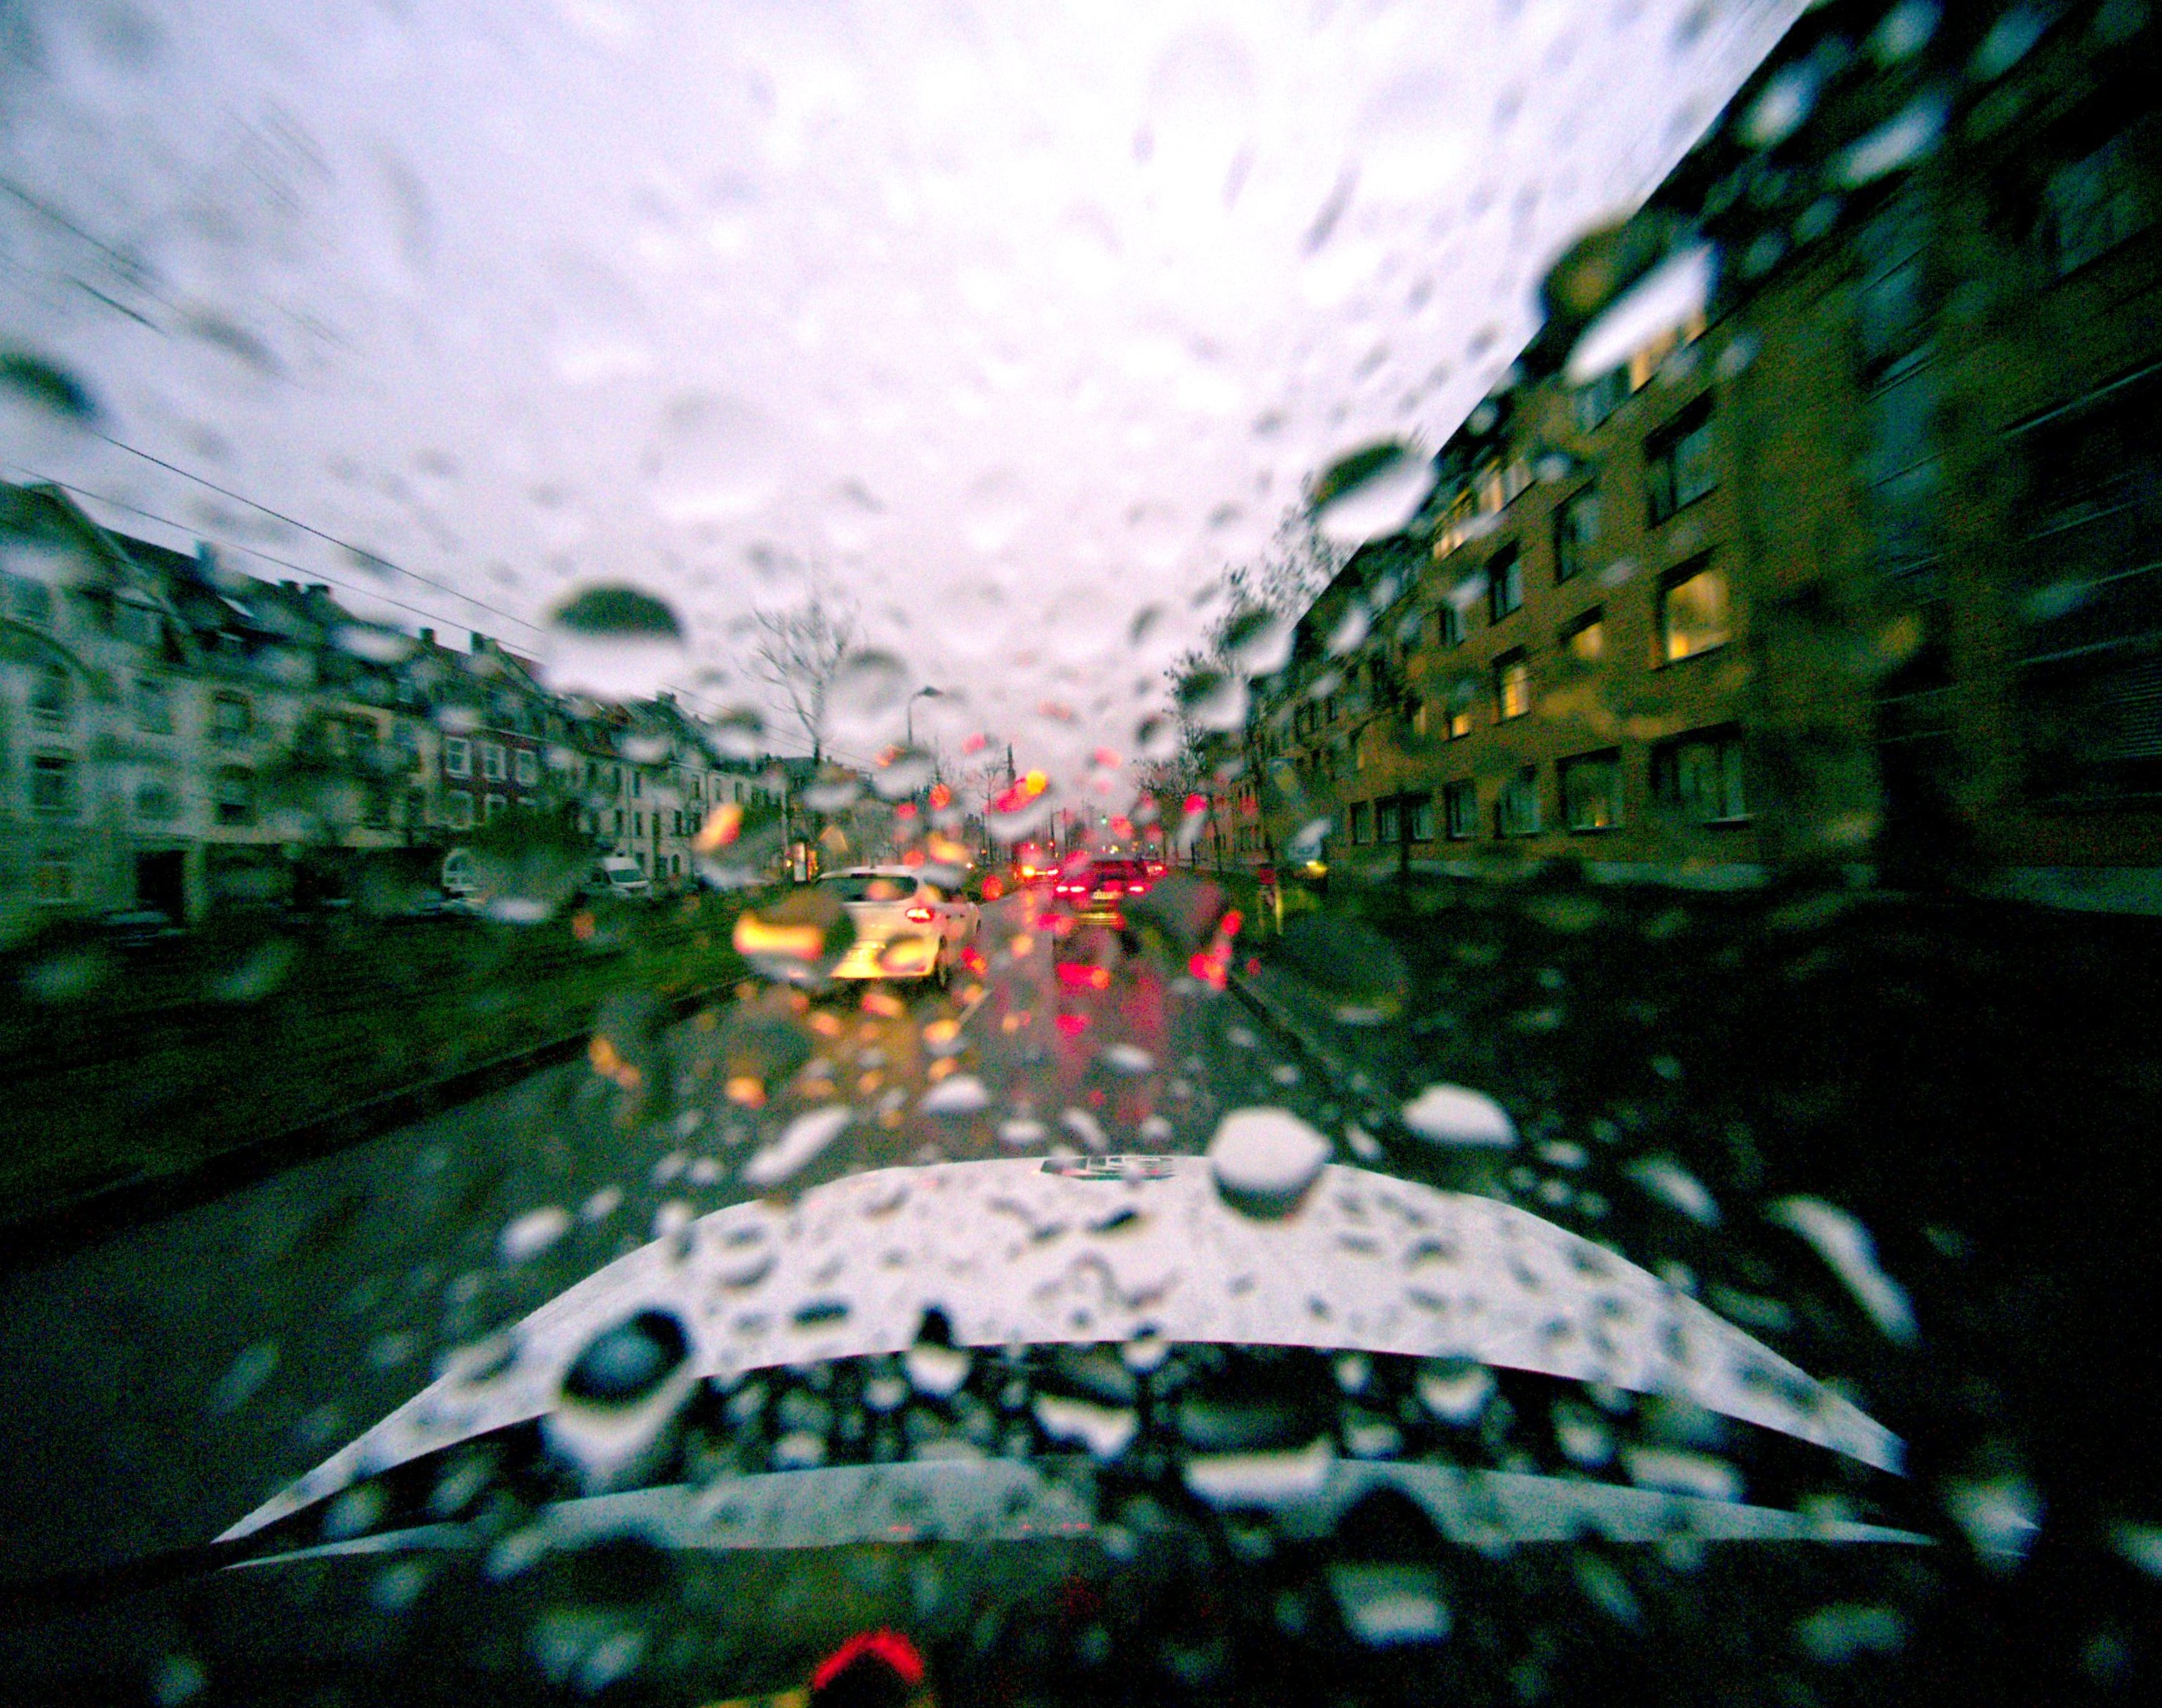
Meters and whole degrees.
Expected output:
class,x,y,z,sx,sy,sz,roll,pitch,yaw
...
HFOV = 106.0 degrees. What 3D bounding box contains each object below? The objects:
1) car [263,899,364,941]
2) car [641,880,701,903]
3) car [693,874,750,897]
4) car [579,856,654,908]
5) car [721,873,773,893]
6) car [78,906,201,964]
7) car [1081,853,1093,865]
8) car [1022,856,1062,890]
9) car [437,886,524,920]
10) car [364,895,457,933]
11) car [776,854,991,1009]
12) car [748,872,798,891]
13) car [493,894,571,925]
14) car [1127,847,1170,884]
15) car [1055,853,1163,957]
class,x,y,z,sx,sy,sz,roll,pitch,yaw
car,-26.183,2.218,27.753,3.948,1.169,2.013,-3,0,40
car,-26.725,2.443,53.058,3.948,1.332,2.013,-3,-1,39
car,-26.359,2.306,59.649,3.948,1.486,2.013,-3,-1,36
car,-26.731,1.637,46.765,5.793,2.797,2.012,-3,-1,43
car,-25.714,2.228,62.737,3.948,1.332,2.013,-3,-1,39
car,-26.697,2.230,23.071,3.948,1.332,2.013,-3,-1,37
car,1.013,0.847,137.372,1.987,1.915,4.000,-3,0,0
car,-1.961,0.930,41.537,1.665,1.600,4.055,-1,0,2
car,-26.957,2.205,36.512,3.948,1.332,2.013,-3,0,36
car,-27.307,2.434,33.137,3.948,1.332,2.013,-3,-1,37
car,-2.321,0.834,10.678,1.665,1.600,4.055,-1,0,2
car,-25.043,2.256,66.251,3.948,1.332,2.013,-3,-1,39
car,-26.788,2.693,39.704,3.948,1.332,2.013,-3,-1,39
car,3.474,0.598,42.328,1.986,1.744,4.002,-3,0,2
car,0.512,0.822,14.884,1.665,1.600,4.055,-1,0,2
